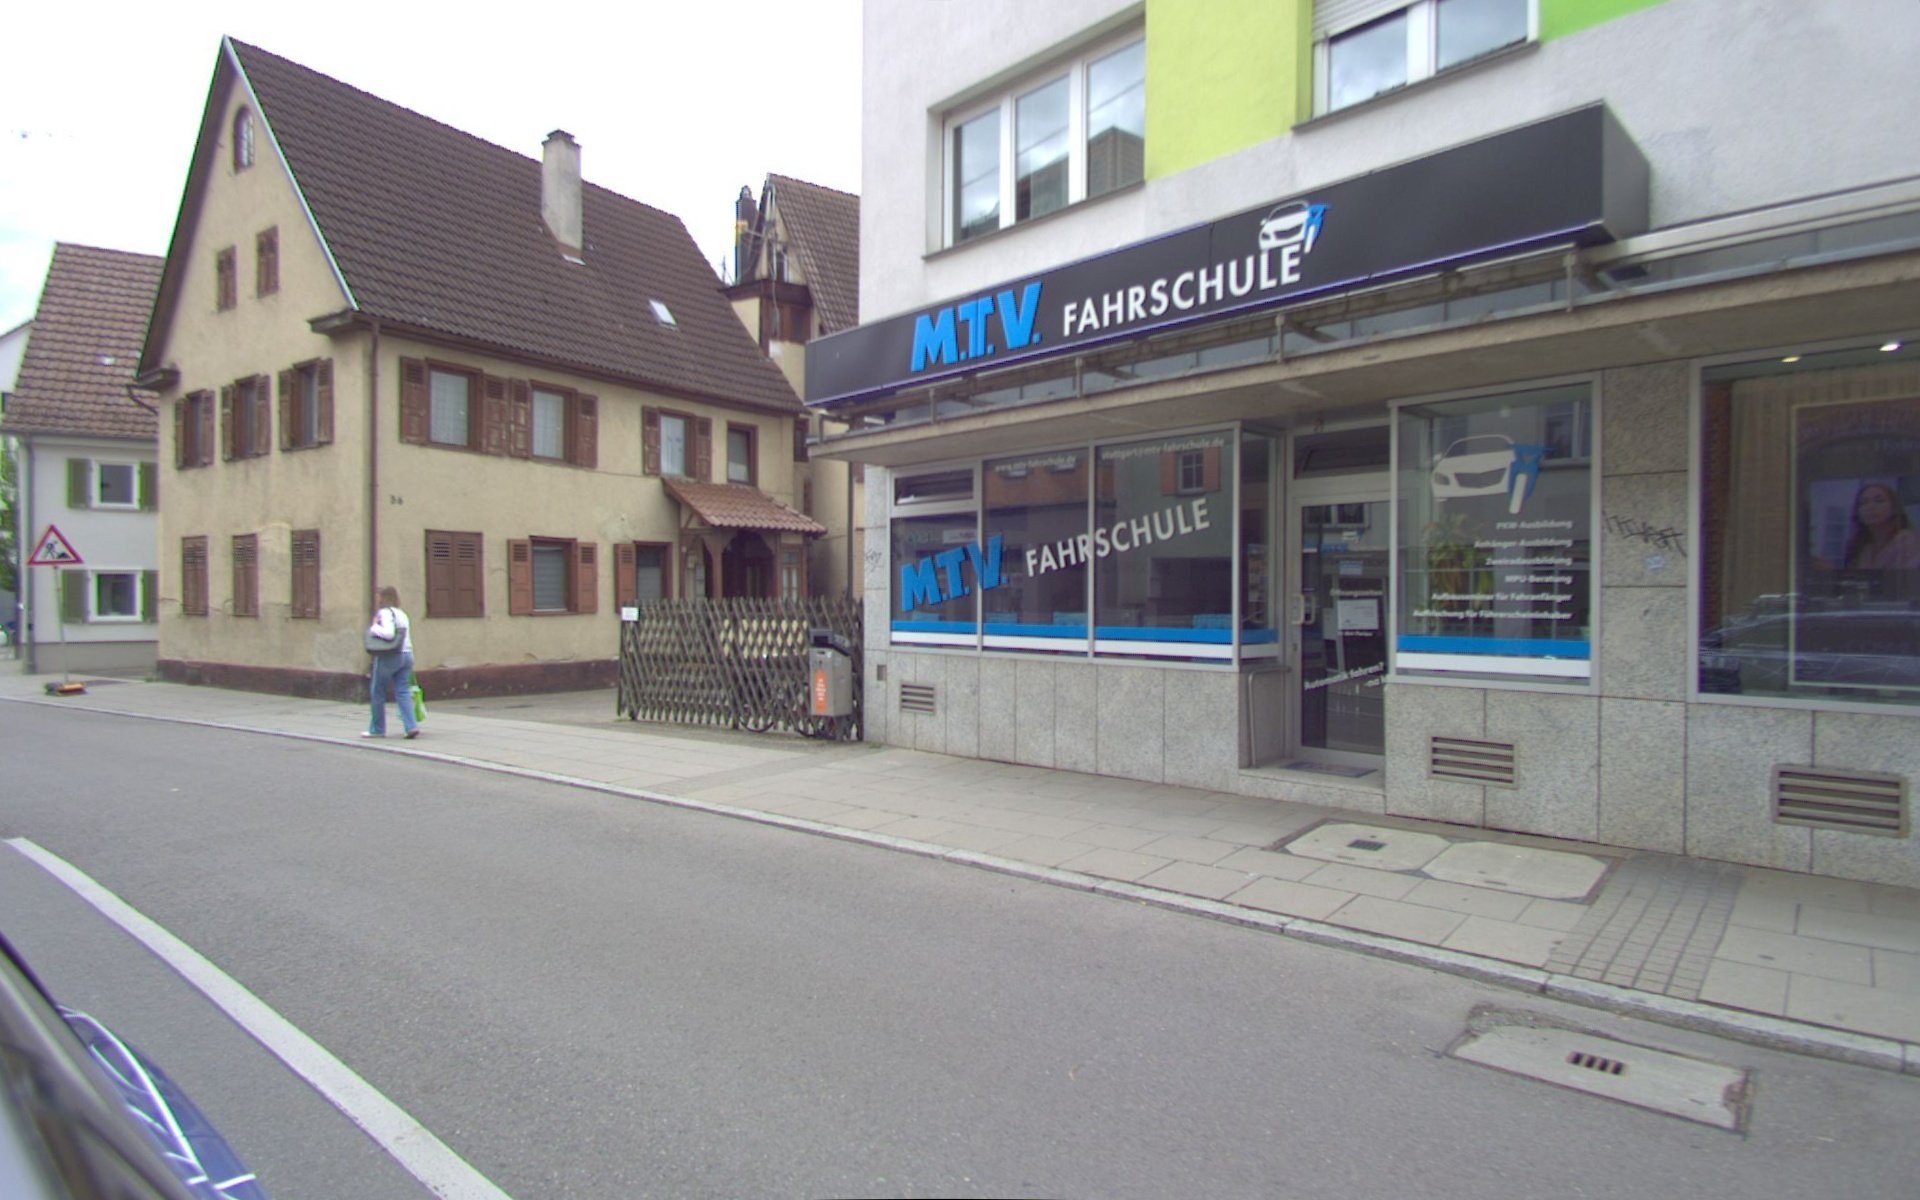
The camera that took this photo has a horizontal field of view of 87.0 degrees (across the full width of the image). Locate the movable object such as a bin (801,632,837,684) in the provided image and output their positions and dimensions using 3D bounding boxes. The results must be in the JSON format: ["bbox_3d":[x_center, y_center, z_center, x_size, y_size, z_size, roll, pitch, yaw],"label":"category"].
[{"bbox_3d":[-3.022,1.232,21.704,0.626,1.075,0.536,0,-1,-24],"label":"movable object such as a bin"}]

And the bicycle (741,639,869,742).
[{"bbox_3d":[-1.773,0.985,11.423,1.746,1.061,0.320,-1,-1,38],"label":"bicycle"}]

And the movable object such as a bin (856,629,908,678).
[{"bbox_3d":[-1.713,1.158,22.217,0.953,1.034,0.642,0,-1,-30],"label":"movable object such as a bin"}]

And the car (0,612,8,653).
[{"bbox_3d":[-36.527,1.199,34.946,2.234,1.488,4.883,-1,0,22],"label":"car"}]

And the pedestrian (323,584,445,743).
[{"bbox_3d":[-6.417,0.678,11.296,0.858,1.678,0.886,-1,-1,31],"label":"pedestrian"}]
